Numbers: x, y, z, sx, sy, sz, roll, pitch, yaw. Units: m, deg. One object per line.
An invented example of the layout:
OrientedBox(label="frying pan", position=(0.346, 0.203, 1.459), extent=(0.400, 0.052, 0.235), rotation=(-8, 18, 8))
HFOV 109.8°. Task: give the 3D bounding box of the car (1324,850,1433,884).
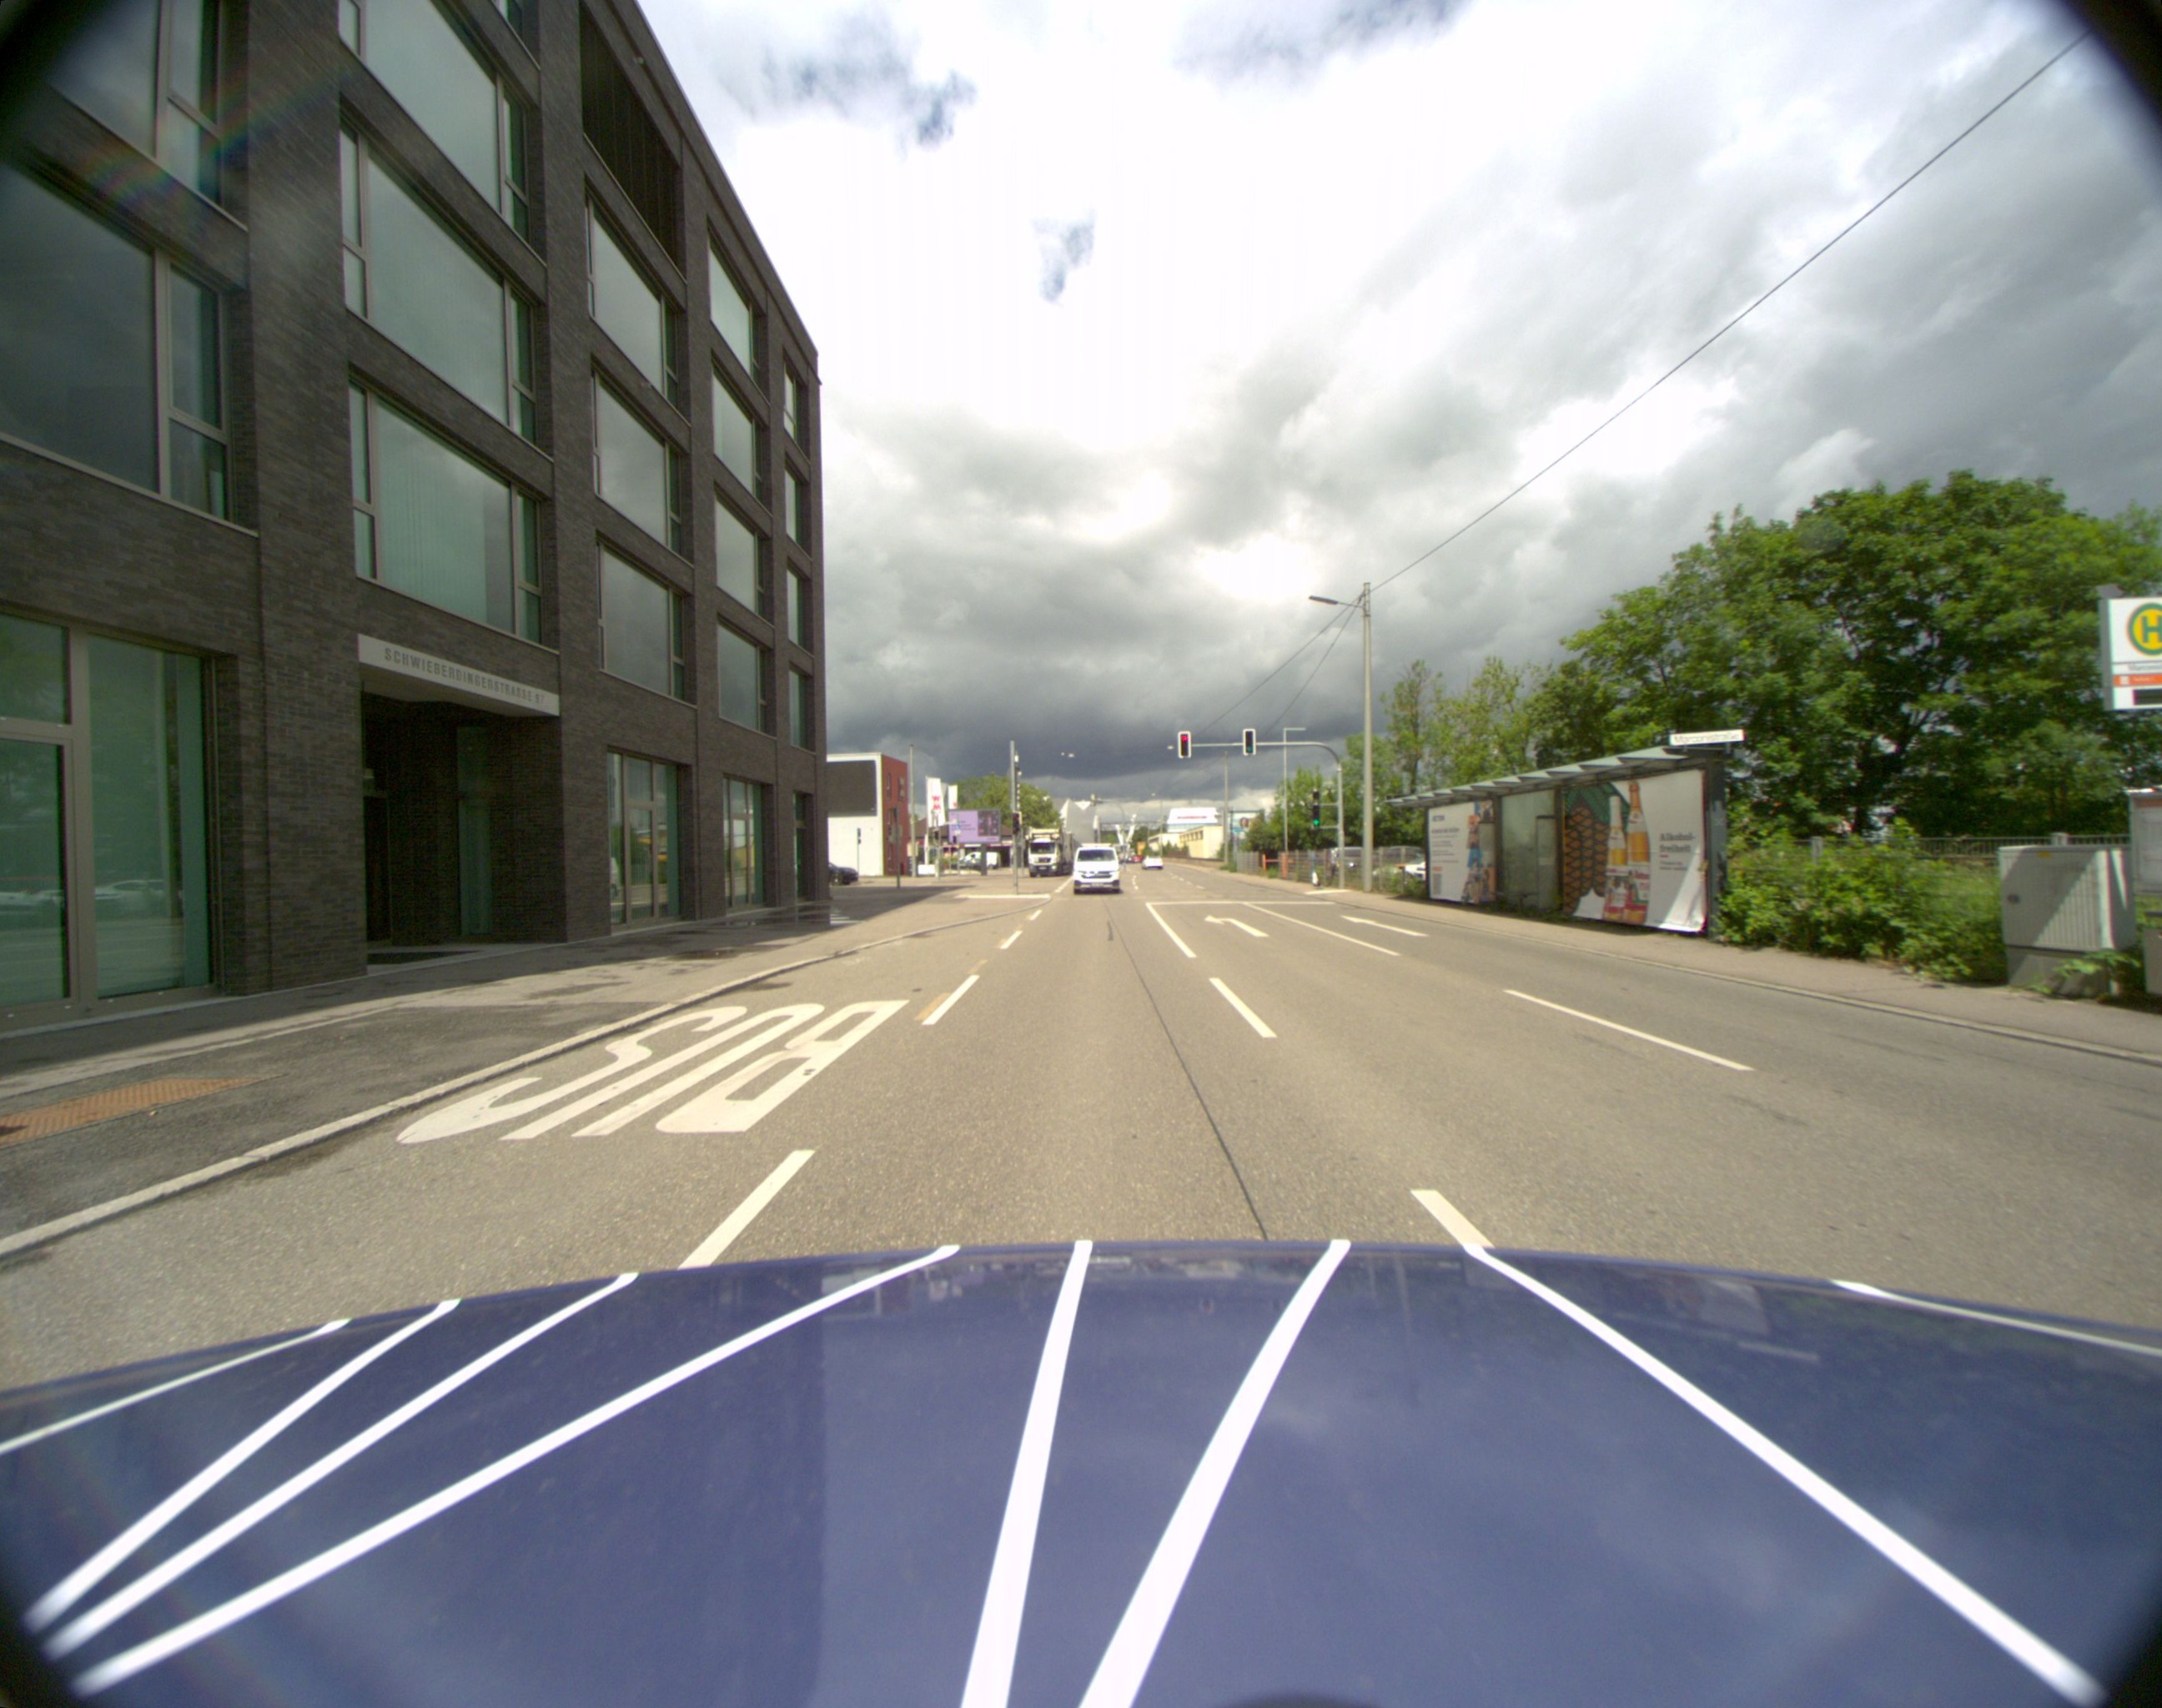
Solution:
OrientedBox(label="car", position=(13.299, 0.555, 34.115), extent=(4.113, 1.410, 2.000), rotation=(-1, 0, 0))

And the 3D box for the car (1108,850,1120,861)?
OrientedBox(label="car", position=(5.493, 0.191, 126.182), extent=(1.870, 1.782, 4.208), rotation=(-1, 0, 0))

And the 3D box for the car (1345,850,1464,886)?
OrientedBox(label="car", position=(13.419, 0.557, 31.704), extent=(4.114, 1.410, 1.999), rotation=(-1, 0, -2))

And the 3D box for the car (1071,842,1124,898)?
OrientedBox(label="car", position=(0.720, 0.579, 30.708), extent=(1.935, 2.078, 4.208), rotation=(-1, 1, 4))

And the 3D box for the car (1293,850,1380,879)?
OrientedBox(label="car", position=(13.404, 0.541, 39.989), extent=(3.864, 1.410, 1.901), rotation=(-1, 0, -8))

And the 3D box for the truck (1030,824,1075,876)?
OrientedBox(label="truck", position=(-2.202, -0.350, 62.287), extent=(2.836, 3.889, 10.366), rotation=(-1, 1, 2))

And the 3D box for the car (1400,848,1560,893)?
OrientedBox(label="car", position=(13.386, 0.525, 25.702), extent=(4.321, 1.410, 2.025), rotation=(-1, 0, 2))

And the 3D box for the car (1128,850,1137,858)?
OrientedBox(label="car", position=(11.471, 0.054, 170.294), extent=(1.860, 1.608, 4.000), rotation=(-1, 0, 2))

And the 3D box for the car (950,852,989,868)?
OrientedBox(label="car", position=(-11.825, 0.675, 80.709), extent=(3.675, 1.477, 1.762), rotation=(3, 1, 3))

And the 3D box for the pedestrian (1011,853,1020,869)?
OrientedBox(label="pedestrian", position=(-7.489, 0.776, 86.786), extent=(0.714, 1.698, 0.739), rotation=(7, 2, 2))

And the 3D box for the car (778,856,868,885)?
OrientedBox(label="car", position=(-15.378, 0.961, 45.390), extent=(4.651, 1.609, 2.000), rotation=(-1, 0, 1))

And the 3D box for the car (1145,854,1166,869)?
OrientedBox(label="car", position=(7.397, 0.727, 75.740), extent=(1.801, 1.368, 4.224), rotation=(0, 0, 1))

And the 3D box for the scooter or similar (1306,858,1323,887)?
OrientedBox(label="scooter or similar", position=(10.165, 0.782, 33.095), extent=(0.424, 1.203, 1.126), rotation=(-2, 0, 5))

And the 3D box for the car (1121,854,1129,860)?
OrientedBox(label="car", position=(10.920, 0.708, 188.944), extent=(1.860, 1.608, 4.000), rotation=(-1, 0, 2))

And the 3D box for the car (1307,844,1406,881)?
OrientedBox(label="car", position=(13.424, 0.413, 37.208), extent=(4.114, 1.724, 1.999), rotation=(-1, 0, -3))

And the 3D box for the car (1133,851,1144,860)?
OrientedBox(label="car", position=(10.422, 0.327, 138.085), extent=(1.935, 1.590, 4.153), rotation=(1, 0, 2))

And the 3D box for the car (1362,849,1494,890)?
OrientedBox(label="car", position=(13.044, 0.563, 28.749), extent=(4.112, 1.410, 1.916), rotation=(-1, 0, 1))
